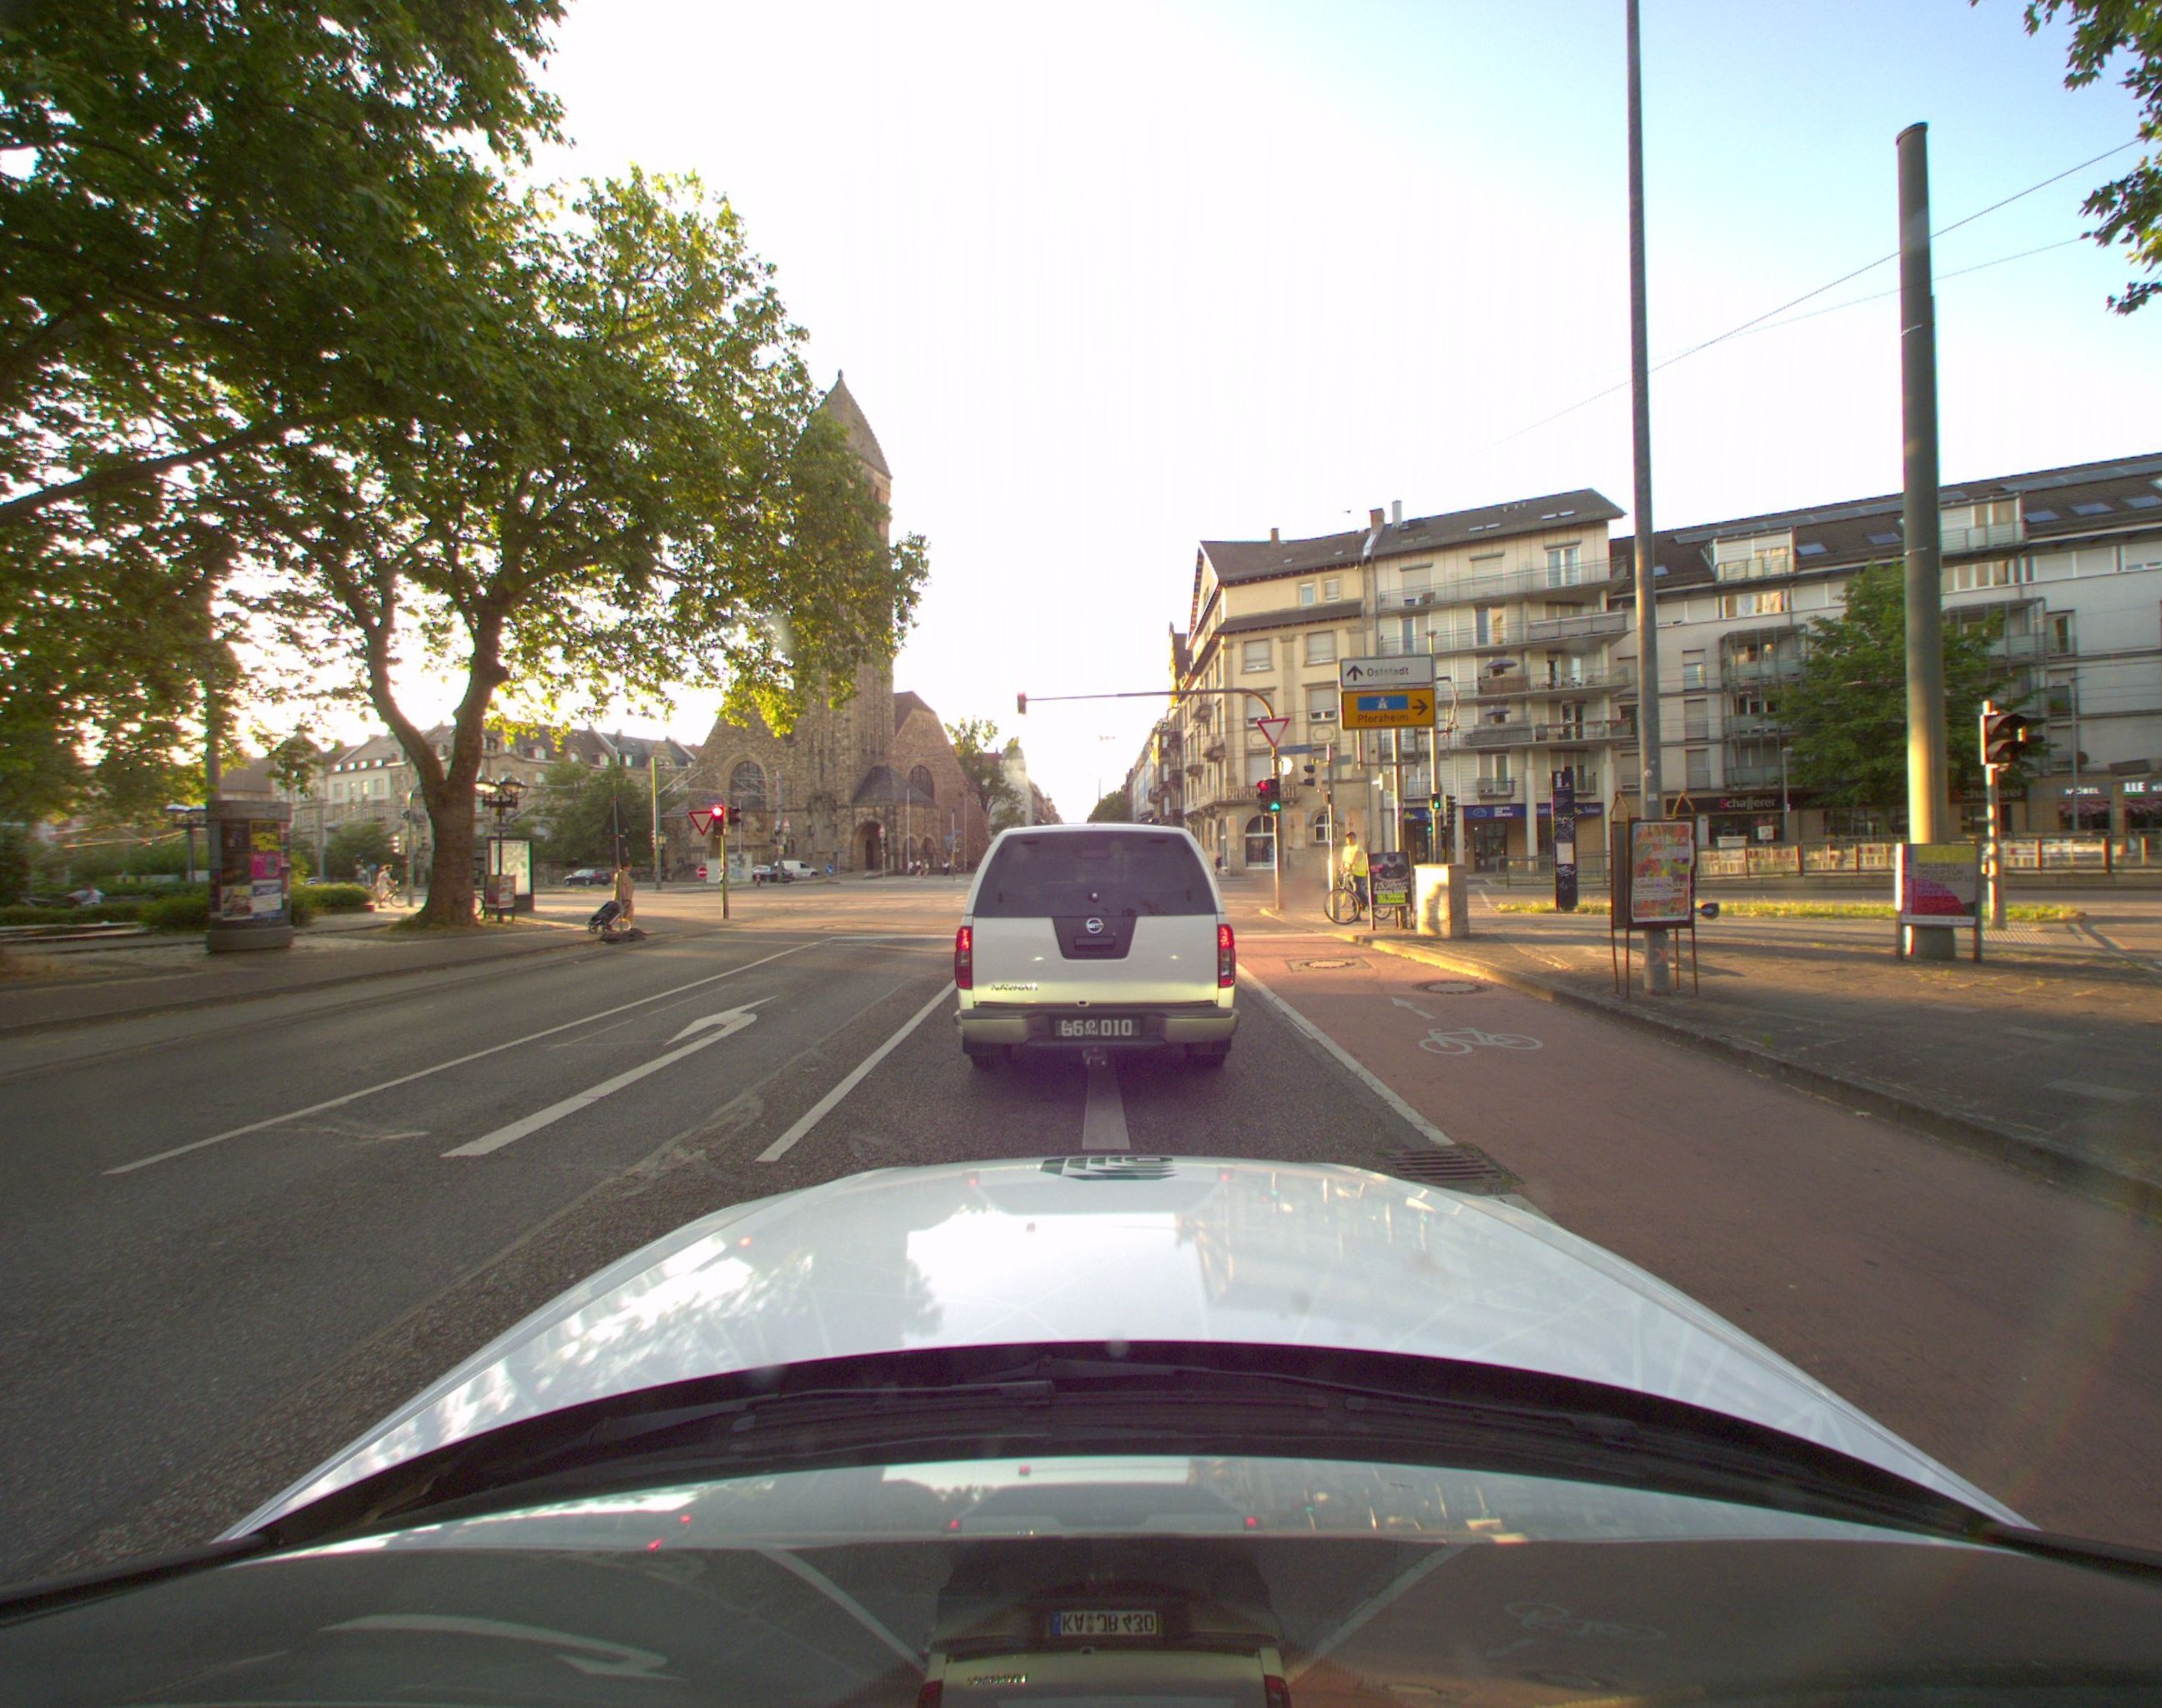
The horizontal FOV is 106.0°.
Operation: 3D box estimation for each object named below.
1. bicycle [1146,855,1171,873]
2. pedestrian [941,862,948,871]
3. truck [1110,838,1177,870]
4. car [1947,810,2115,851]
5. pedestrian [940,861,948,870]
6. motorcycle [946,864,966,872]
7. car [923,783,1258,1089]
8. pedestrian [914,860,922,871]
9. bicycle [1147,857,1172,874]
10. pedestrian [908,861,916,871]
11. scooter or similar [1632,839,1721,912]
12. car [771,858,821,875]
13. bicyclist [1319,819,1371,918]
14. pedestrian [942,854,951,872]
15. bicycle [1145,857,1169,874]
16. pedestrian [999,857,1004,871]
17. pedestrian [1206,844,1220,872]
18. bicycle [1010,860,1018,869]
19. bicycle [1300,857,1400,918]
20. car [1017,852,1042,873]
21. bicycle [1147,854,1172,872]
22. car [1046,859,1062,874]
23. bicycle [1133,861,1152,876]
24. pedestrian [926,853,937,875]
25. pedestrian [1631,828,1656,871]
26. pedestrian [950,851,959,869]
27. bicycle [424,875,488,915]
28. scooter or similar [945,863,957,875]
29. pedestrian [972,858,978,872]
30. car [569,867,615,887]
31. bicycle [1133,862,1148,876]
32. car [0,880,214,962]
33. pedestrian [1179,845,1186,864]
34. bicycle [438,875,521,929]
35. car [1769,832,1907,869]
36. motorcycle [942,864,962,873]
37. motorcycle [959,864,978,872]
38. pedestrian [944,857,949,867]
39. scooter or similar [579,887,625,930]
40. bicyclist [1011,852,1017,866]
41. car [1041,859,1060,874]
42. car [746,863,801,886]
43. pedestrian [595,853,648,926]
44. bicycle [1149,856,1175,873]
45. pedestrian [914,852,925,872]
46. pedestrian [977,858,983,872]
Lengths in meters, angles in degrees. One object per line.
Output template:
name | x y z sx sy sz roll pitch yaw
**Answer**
bicycle | 6.086 0.785 63.901 1.812 1.238 0.477 -4 -1 -1
pedestrian | -14.927 1.363 89.058 0.547 0.960 0.713 -1 -1 22
truck | 5.318 -0.019 68.841 5.704 2.565 2.260 0 -1 -42
car | 37.945 -0.893 32.670 3.950 1.486 1.860 -1 -1 26
pedestrian | -13.610 1.144 80.904 0.517 0.960 0.481 -1 -1 19
motorcycle | -14.442 1.633 94.244 2.239 0.988 0.707 0 -1 -4
car | 0.115 0.514 6.846 1.986 1.809 4.001 0 -1 2
pedestrian | -15.056 1.079 75.225 0.517 0.960 0.482 -1 -1 21
bicycle | 6.220 0.902 64.622 1.812 1.238 0.412 -4 -1 -1
pedestrian | -15.668 1.088 75.515 0.517 0.960 0.482 -1 -1 21
scooter or similar | 10.619 0.383 14.537 1.219 1.249 0.518 -1 -1 41
car | -26.352 1.131 75.359 1.698 1.517 4.481 -1 -1 26
bicyclist | 5.041 0.273 15.572 0.701 1.824 0.622 0 -1 -31
pedestrian | -12.763 0.813 77.399 0.629 1.698 0.605 -1 -1 14
bicycle | 6.141 0.920 65.761 1.849 1.238 0.530 -4 -1 -1
pedestrian | -10.431 1.303 106.693 0.643 1.855 0.559 0 -1 -13
pedestrian | 8.462 0.245 52.182 0.779 1.779 0.546 -1 -1 27
bicycle | -7.808 1.174 94.522 0.599 1.043 1.937 0 -1 -13
bicycle | 5.193 0.620 15.666 2.079 1.109 0.622 0 -1 -31
car | -4.666 0.752 74.398 1.987 1.784 4.797 0 1 0
bicycle | 6.099 0.728 63.190 1.812 1.238 0.488 -4 -1 -1
car | -3.644 1.678 110.275 1.987 2.014 4.950 -2 -1 0
bicycle | 4.857 1.137 64.333 1.367 1.024 0.317 -4 -1 -1
pedestrian | -12.949 0.884 70.412 0.809 1.901 0.666 0 -1 -1
pedestrian | 29.132 -0.236 42.189 0.860 2.209 0.825 -1 -1 21
pedestrian | -11.979 0.569 77.149 0.629 1.698 0.605 -1 -1 12
bicycle | -18.058 1.164 23.584 0.456 1.093 1.798 0 -1 0
scooter or similar | -12.178 1.427 76.292 0.628 1.103 1.083 0 0 17
pedestrian | -12.748 1.325 98.012 0.642 1.695 0.560 0 -1 -7
car | -42.022 1.988 69.993 3.948 1.684 2.013 -1 -1 36
bicycle | 4.643 1.145 63.625 1.073 1.024 0.317 -4 -1 -1
car | -26.710 1.744 21.587 1.975 1.781 4.669 -3 1 27
pedestrian | 8.821 0.064 70.997 0.525 1.654 0.547 0 -1 1
bicycle | -15.829 1.242 21.501 0.522 1.326 1.998 -1 -1 7
car | 32.677 -0.122 35.307 3.952 1.486 1.859 -1 -1 21
motorcycle | -14.602 1.607 92.219 2.239 0.988 0.707 0 -1 -4
motorcycle | -13.348 1.654 96.508 2.146 0.988 0.597 -1 -1 21
pedestrian | -13.401 0.830 81.110 0.522 0.960 0.477 0 -1 -14
scooter or similar | -10.552 1.188 17.957 0.591 0.898 0.849 0 -1 -9
bicyclist | -7.826 0.574 94.631 0.599 1.645 0.959 0 -1 -12
car | -3.692 1.552 98.417 1.987 1.558 4.768 -1 -3 1
car | -23.317 1.586 61.802 3.948 1.618 2.012 -2 -5 36
pedestrian | -10.595 0.810 18.799 0.800 1.628 0.773 0 -1 -3
bicycle | 6.196 0.798 62.245 1.812 1.150 0.636 -4 -1 -1
pedestrian | -13.947 0.711 70.370 0.809 1.669 0.859 0 -1 -1
pedestrian | -12.457 1.313 100.308 0.640 1.695 0.562 0 -1 1
